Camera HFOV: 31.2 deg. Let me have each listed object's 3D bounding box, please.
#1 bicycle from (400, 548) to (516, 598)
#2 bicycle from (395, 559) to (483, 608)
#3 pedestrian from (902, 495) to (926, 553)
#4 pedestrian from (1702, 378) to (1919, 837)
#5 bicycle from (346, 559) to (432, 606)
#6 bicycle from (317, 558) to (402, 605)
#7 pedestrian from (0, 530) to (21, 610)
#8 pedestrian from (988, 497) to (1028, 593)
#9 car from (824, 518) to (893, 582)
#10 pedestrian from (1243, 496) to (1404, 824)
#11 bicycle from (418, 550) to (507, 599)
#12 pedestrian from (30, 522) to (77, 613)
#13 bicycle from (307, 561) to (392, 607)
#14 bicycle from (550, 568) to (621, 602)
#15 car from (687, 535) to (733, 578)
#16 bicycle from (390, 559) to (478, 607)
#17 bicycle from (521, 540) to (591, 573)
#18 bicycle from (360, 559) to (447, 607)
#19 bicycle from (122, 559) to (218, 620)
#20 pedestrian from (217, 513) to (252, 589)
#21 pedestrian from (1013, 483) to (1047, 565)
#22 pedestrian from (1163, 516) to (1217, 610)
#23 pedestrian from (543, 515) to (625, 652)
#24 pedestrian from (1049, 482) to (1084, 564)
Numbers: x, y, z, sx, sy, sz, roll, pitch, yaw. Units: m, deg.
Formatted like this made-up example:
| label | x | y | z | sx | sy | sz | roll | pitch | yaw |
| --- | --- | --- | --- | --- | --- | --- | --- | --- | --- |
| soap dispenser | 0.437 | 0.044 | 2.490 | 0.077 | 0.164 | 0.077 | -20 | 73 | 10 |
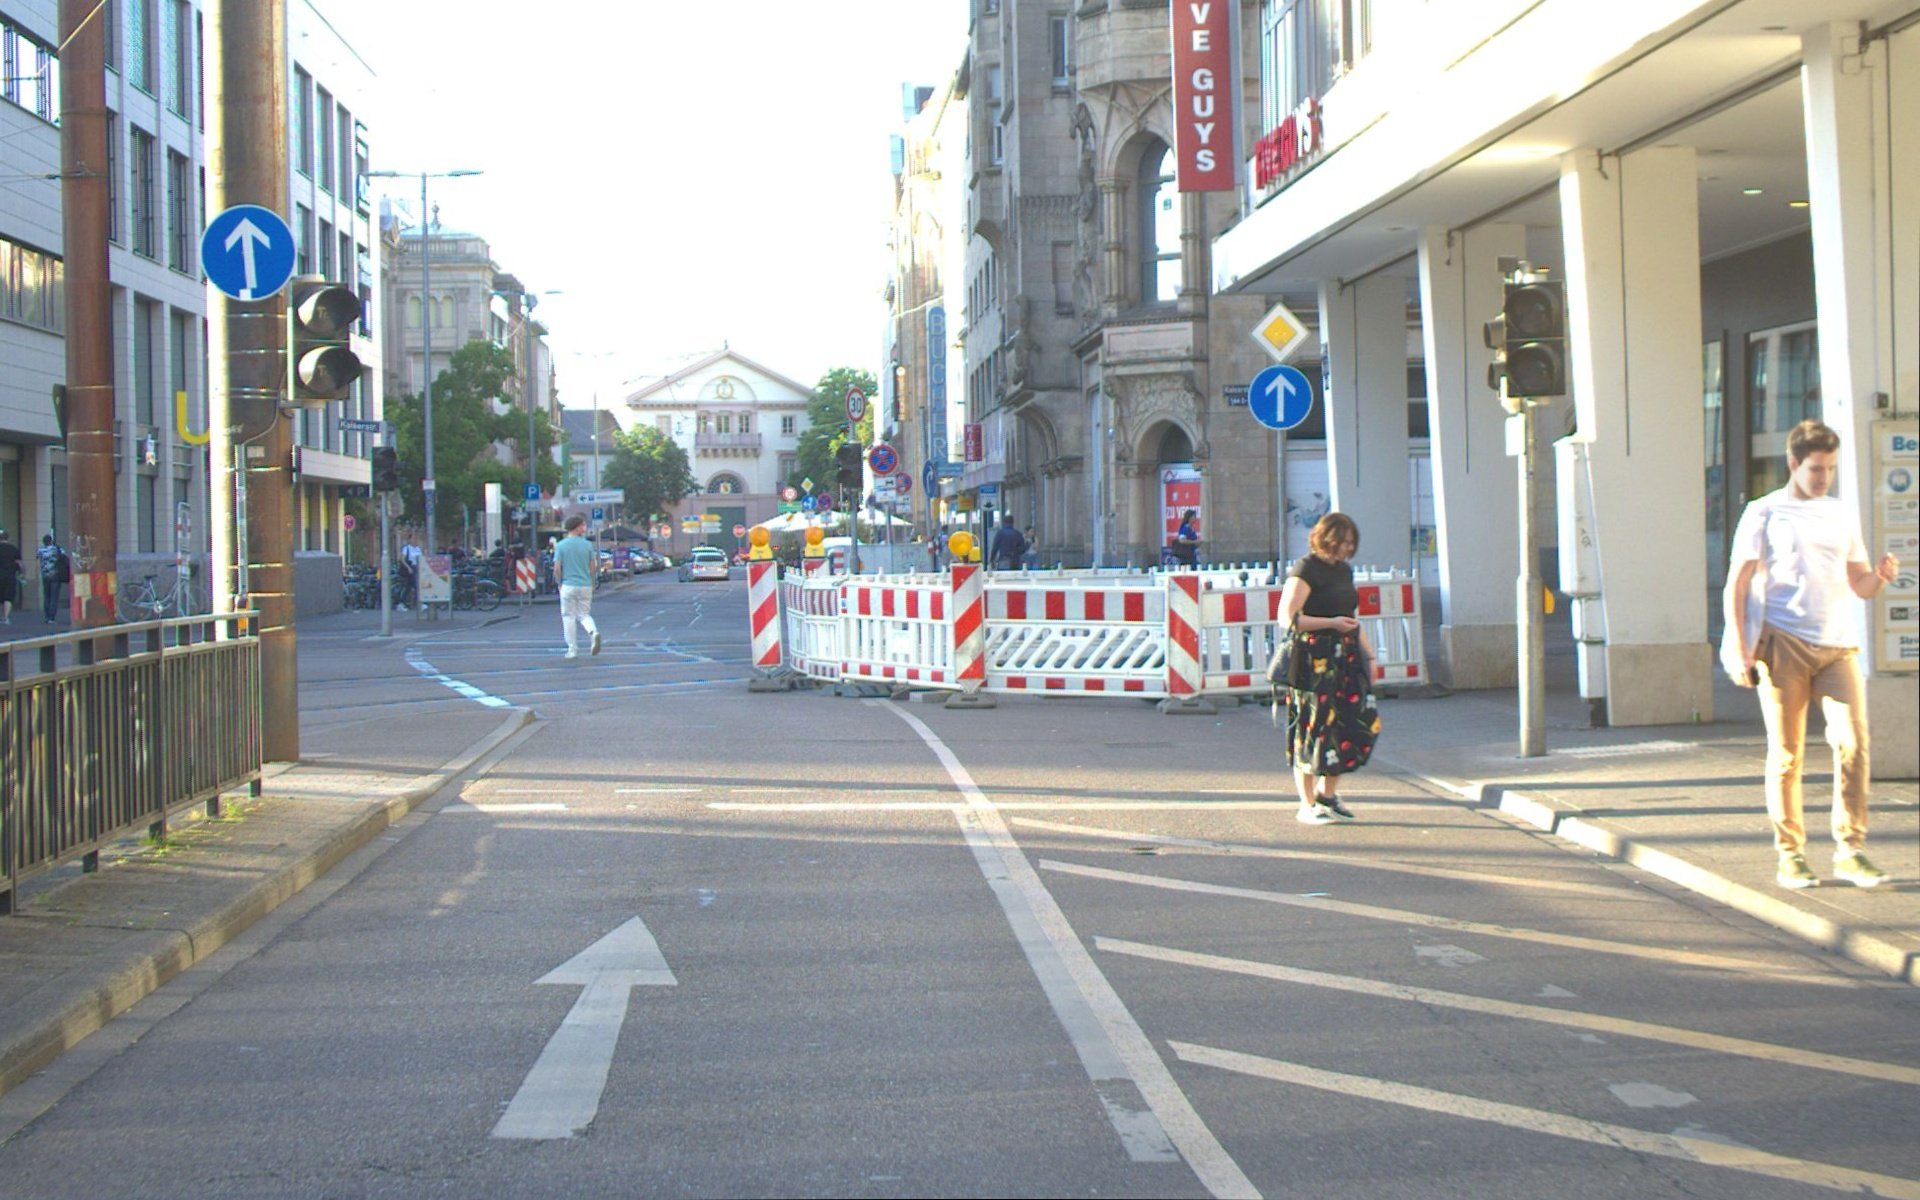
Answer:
| label | x | y | z | sx | sy | sz | roll | pitch | yaw |
| --- | --- | --- | --- | --- | --- | --- | --- | --- | --- |
| bicycle | -13.134 | -0.707 | 90.049 | 2.887 | 1.251 | 0.804 | -1 | 1 | -28 |
| bicycle | -12.139 | -0.381 | 80.134 | 1.967 | 1.118 | 0.558 | 0 | 1 | -31 |
| pedestrian | -1.360 | -2.245 | 101.680 | 0.643 | 1.684 | 0.671 | -1 | 1 | -5 |
| pedestrian | 3.475 | 0.022 | 14.039 | 0.699 | 1.809 | 0.852 | 1 | 1 | 1 |
| bicycle | -13.660 | -0.423 | 82.282 | 1.967 | 1.118 | 0.558 | 0 | 1 | -31 |
| bicycle | -14.579 | -0.447 | 83.475 | 1.967 | 1.118 | 0.558 | 0 | 1 | -31 |
| pedestrian | -18.185 | -0.572 | 65.642 | 0.390 | 1.510 | 0.506 | -1 | 1 | -4 |
| pedestrian | 0.844 | -0.980 | 61.034 | 0.625 | 1.684 | 0.671 | -1 | 1 | -5 |
| car | -2.946 | -1.441 | 99.122 | 1.799 | 1.762 | 4.398 | -2 | 1 | -3 |
| pedestrian | 1.898 | 0.309 | 18.014 | 0.699 | 1.687 | 0.541 | 1 | 0 | -10 |
| bicycle | -11.484 | -0.582 | 79.410 | 1.967 | 1.118 | 0.558 | 0 | 1 | -31 |
| pedestrian | -17.465 | -0.631 | 66.247 | 0.782 | 1.745 | 0.600 | 1 | 0 | -5 |
| bicycle | -14.984 | -0.391 | 84.406 | 1.967 | 1.118 | 0.558 | 0 | 1 | -31 |
| bicycle | -11.727 | -0.476 | 107.666 | 2.148 | 1.026 | 0.640 | -1 | 1 | -1 |
| car | -11.275 | -1.966 | 155.459 | 1.993 | 1.897 | 4.001 | 1 | 1 | -3 |
| bicycle | -12.372 | -0.392 | 80.841 | 1.967 | 1.118 | 0.558 | 0 | 1 | -31 |
| bicycle | -12.902 | -1.379 | 109.804 | 2.148 | 1.026 | 0.640 | -1 | 1 | -1 |
| bicycle | -13.222 | -0.411 | 81.659 | 1.967 | 1.118 | 0.558 | 0 | 1 | -31 |
| bicycle | -14.906 | -0.200 | 64.864 | 1.696 | 1.118 | 0.451 | 1 | 0 | 0 |
| pedestrian | -16.043 | -1.082 | 75.982 | 0.680 | 1.675 | 0.600 | 1 | 0 | -5 |
| pedestrian | 1.452 | -1.566 | 71.227 | 0.625 | 1.684 | 0.671 | -1 | 1 | -5 |
| pedestrian | 3.952 | -0.632 | 59.119 | 0.819 | 1.605 | 0.713 | 1 | 0 | -3 |
| pedestrian | -4.888 | -0.217 | 44.718 | 0.866 | 1.755 | 0.767 | 1 | 0 | 9 |
| pedestrian | 2.207 | -1.606 | 71.384 | 0.625 | 1.684 | 0.626 | -1 | 1 | -5 |
